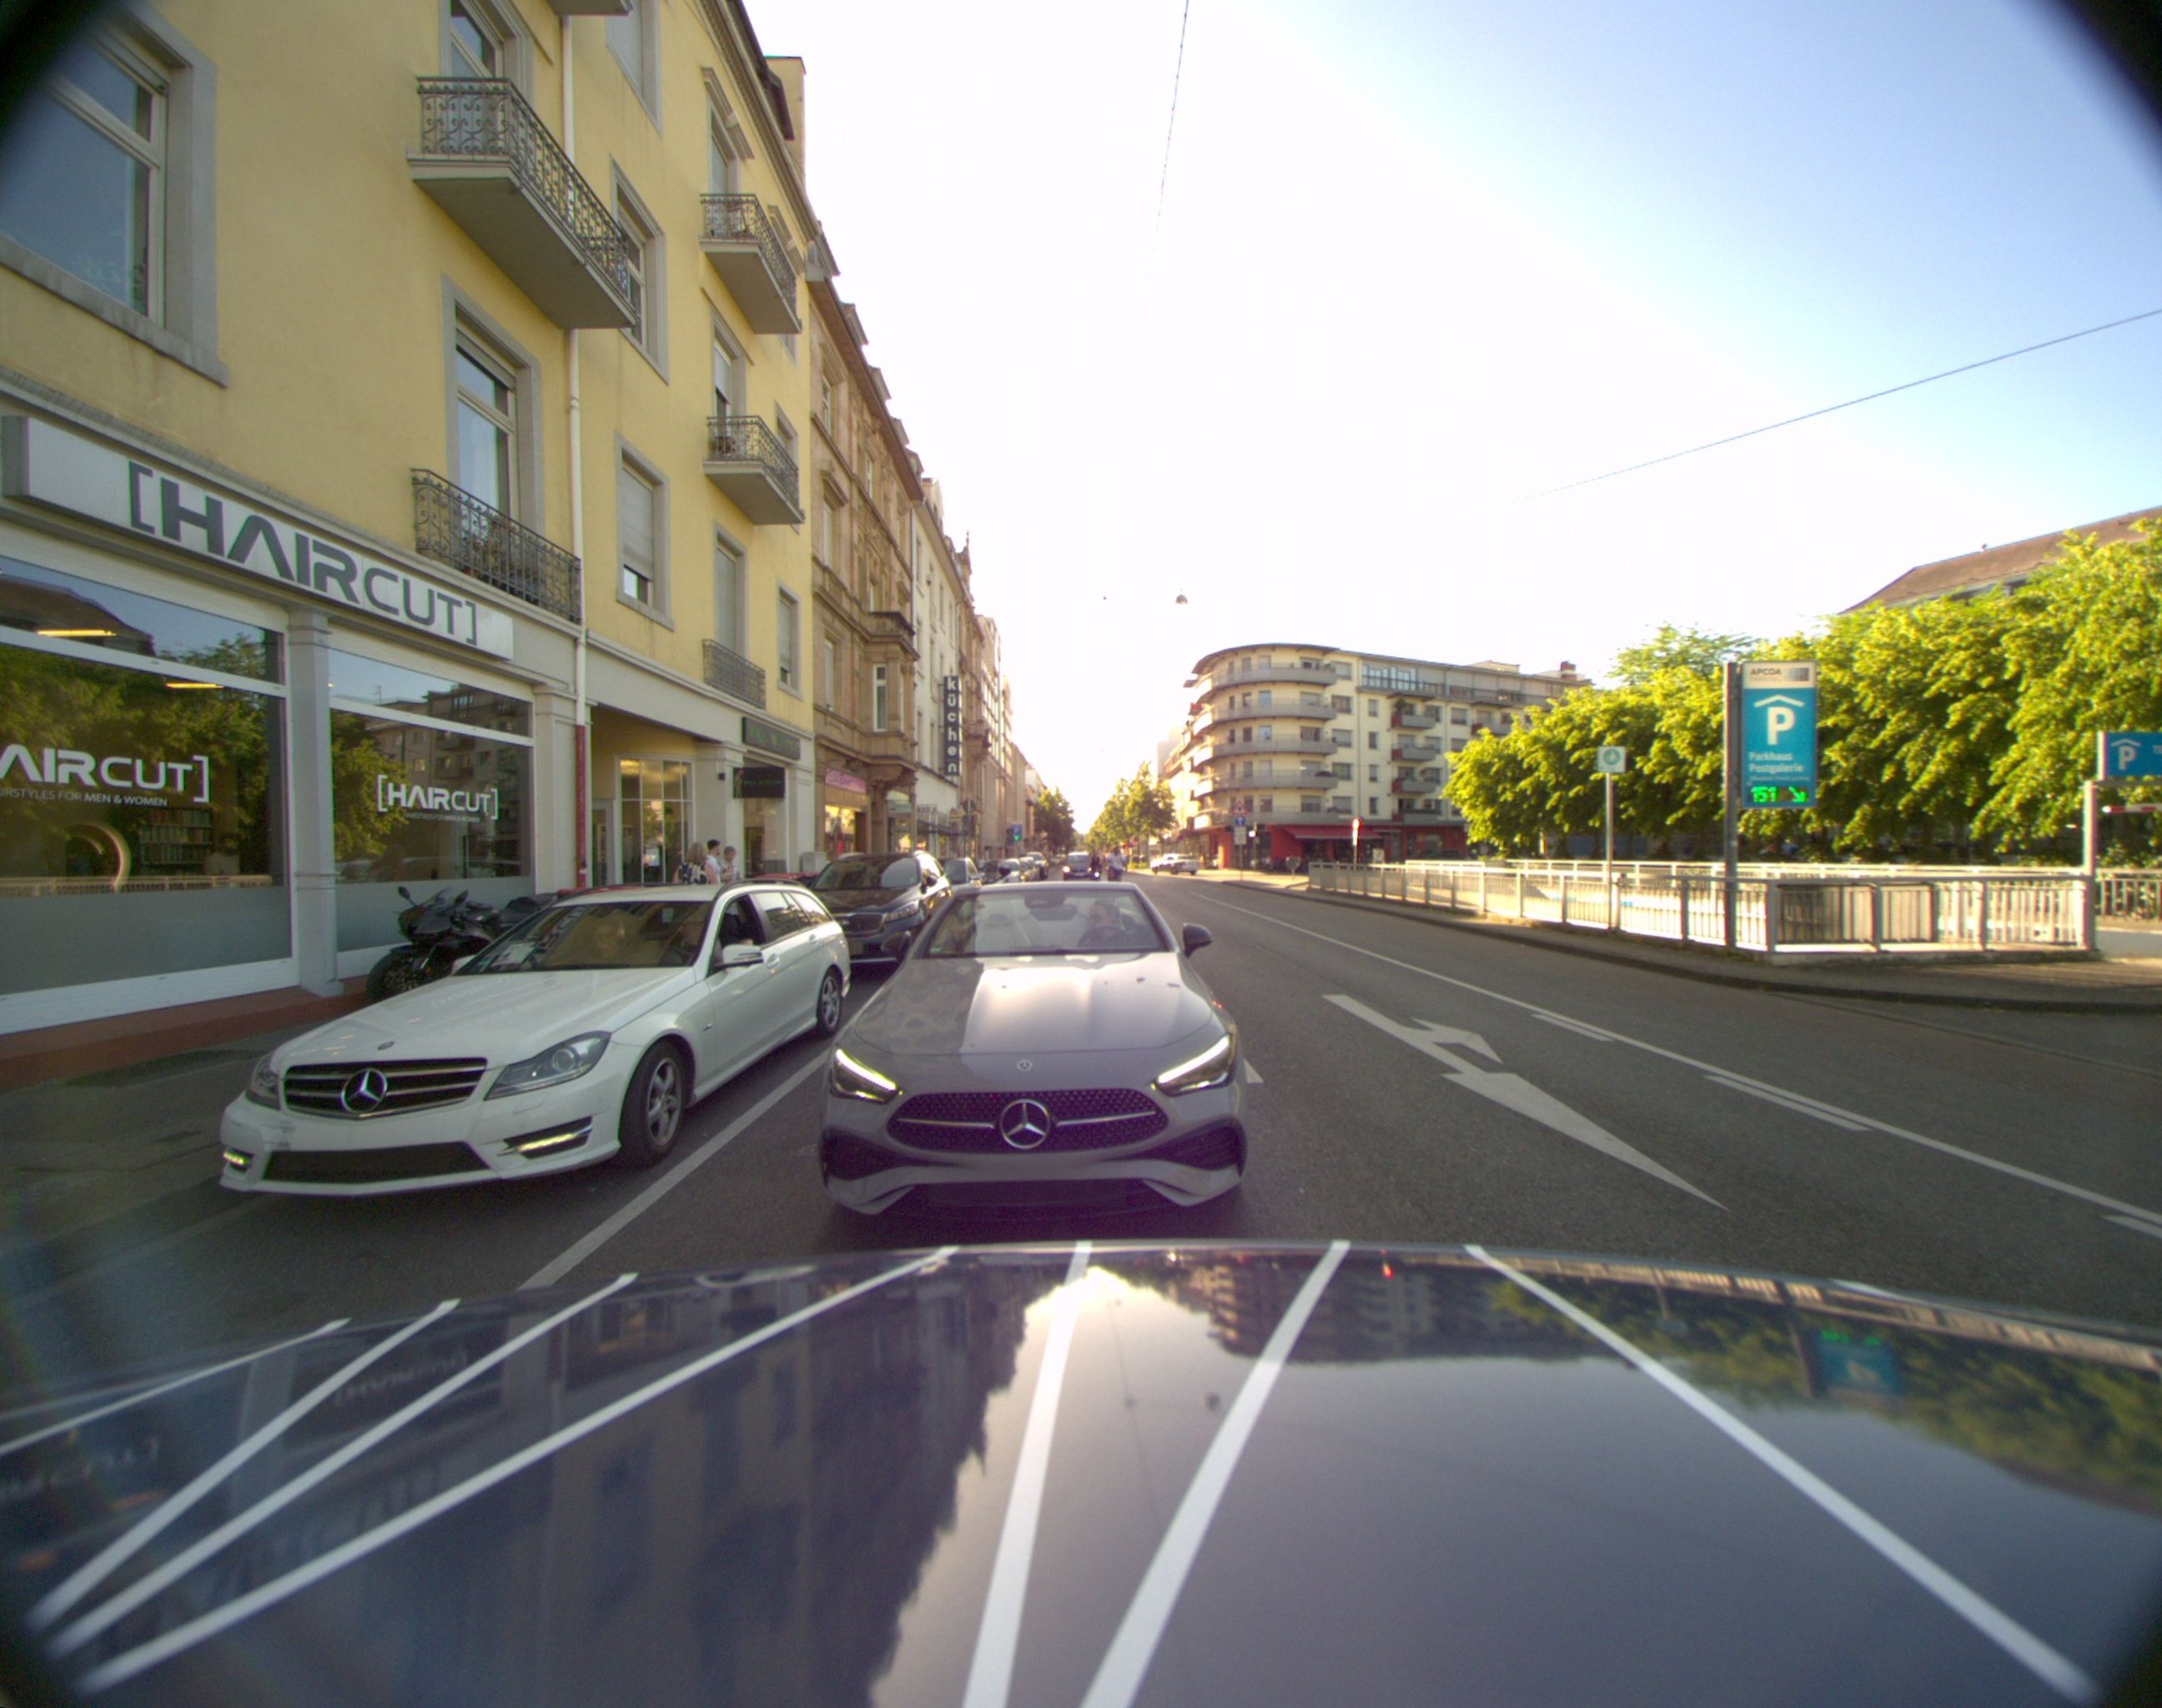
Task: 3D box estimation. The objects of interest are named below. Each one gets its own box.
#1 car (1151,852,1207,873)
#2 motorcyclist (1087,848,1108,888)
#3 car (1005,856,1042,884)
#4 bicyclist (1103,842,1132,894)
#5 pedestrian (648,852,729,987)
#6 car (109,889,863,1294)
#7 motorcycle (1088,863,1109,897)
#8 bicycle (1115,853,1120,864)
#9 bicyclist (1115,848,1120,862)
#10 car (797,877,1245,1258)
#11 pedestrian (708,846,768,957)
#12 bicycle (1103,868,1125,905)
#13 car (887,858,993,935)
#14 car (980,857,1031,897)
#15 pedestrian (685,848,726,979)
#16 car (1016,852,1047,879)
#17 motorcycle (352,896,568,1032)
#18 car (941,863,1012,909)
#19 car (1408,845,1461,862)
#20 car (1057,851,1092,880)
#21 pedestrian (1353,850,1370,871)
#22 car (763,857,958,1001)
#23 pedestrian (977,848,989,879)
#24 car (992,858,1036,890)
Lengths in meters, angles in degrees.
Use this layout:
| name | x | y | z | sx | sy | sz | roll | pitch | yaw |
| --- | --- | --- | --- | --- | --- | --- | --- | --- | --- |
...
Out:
| name | x | y | z | sx | sy | sz | roll | pitch | yaw |
| --- | --- | --- | --- | --- | --- | --- | --- | --- | --- |
| car | 6.918 | 0.587 | 53.968 | 1.827 | 1.346 | 4.254 | 0 | 1 | -27 |
| motorcyclist | 0.618 | 0.523 | 28.325 | 0.722 | 1.438 | 0.705 | -2 | 1 | 1 |
| car | -3.085 | 0.829 | 41.398 | 1.725 | 1.332 | 3.668 | -2 | 1 | -1 |
| bicyclist | 1.168 | 0.437 | 24.600 | 0.885 | 1.625 | 0.769 | -1 | 1 | 3 |
| pedestrian | -4.991 | 0.810 | 9.690 | 0.719 | 1.644 | 0.606 | 1 | 1 | 1 |
| car | -3.050 | 1.076 | 5.288 | 1.704 | 1.351 | 4.378 | -2 | 1 | 1 |
| motorcycle | 0.629 | 0.946 | 28.348 | 0.720 | 1.177 | 1.906 | -2 | 1 | 1 |
| bicycle | 4.062 | 0.499 | 84.875 | 0.527 | 1.163 | 1.593 | -2 | 1 | 2 |
| bicyclist | 4.045 | 0.159 | 84.807 | 0.524 | 1.539 | 0.798 | -2 | 1 | 3 |
| car | -0.269 | 0.946 | 5.153 | 1.802 | 1.351 | 3.999 | -2 | 1 | -1 |
| pedestrian | -5.847 | 0.790 | 12.985 | 0.664 | 1.840 | 0.575 | -2 | 1 | 2 |
| bicycle | 1.061 | 1.031 | 24.442 | 0.640 | 1.078 | 2.061 | -1 | 0 | 2 |
| car | -3.295 | 0.934 | 18.525 | 1.802 | 1.518 | 4.085 | -2 | 1 | -1 |
| car | -3.005 | 0.876 | 30.792 | 1.660 | 1.423 | 4.085 | -2 | 1 | -1 |
| pedestrian | -5.827 | 0.897 | 11.801 | 0.374 | 1.971 | 0.693 | -1 | 1 | -12 |
| car | -3.057 | 0.684 | 47.549 | 1.725 | 1.506 | 4.004 | -2 | 1 | -1 |
| motorcycle | -6.200 | 1.036 | 7.751 | 0.567 | 1.072 | 1.954 | 2 | 1 | 1 |
| car | -3.382 | 1.009 | 25.375 | 1.802 | 1.259 | 4.085 | -2 | 1 | -1 |
| car | 29.046 | -0.066 | 62.429 | 4.004 | 1.294 | 1.753 | -2 | 1 | -23 |
| car | -0.318 | 0.630 | 43.911 | 1.856 | 1.543 | 3.999 | -2 | 1 | 1 |
| pedestrian | 21.884 | 0.534 | 59.211 | 0.863 | 1.586 | 0.887 | -3 | 1 | -38 |
| car | -3.007 | 0.916 | 11.340 | 1.803 | 1.629 | 4.243 | -2 | 1 | -3 |
| pedestrian | -5.916 | 0.542 | 45.820 | 0.574 | 1.840 | 0.665 | -2 | 1 | 1 |
| car | -3.179 | 0.924 | 36.879 | 1.802 | 1.332 | 3.838 | -2 | 1 | -1 |
